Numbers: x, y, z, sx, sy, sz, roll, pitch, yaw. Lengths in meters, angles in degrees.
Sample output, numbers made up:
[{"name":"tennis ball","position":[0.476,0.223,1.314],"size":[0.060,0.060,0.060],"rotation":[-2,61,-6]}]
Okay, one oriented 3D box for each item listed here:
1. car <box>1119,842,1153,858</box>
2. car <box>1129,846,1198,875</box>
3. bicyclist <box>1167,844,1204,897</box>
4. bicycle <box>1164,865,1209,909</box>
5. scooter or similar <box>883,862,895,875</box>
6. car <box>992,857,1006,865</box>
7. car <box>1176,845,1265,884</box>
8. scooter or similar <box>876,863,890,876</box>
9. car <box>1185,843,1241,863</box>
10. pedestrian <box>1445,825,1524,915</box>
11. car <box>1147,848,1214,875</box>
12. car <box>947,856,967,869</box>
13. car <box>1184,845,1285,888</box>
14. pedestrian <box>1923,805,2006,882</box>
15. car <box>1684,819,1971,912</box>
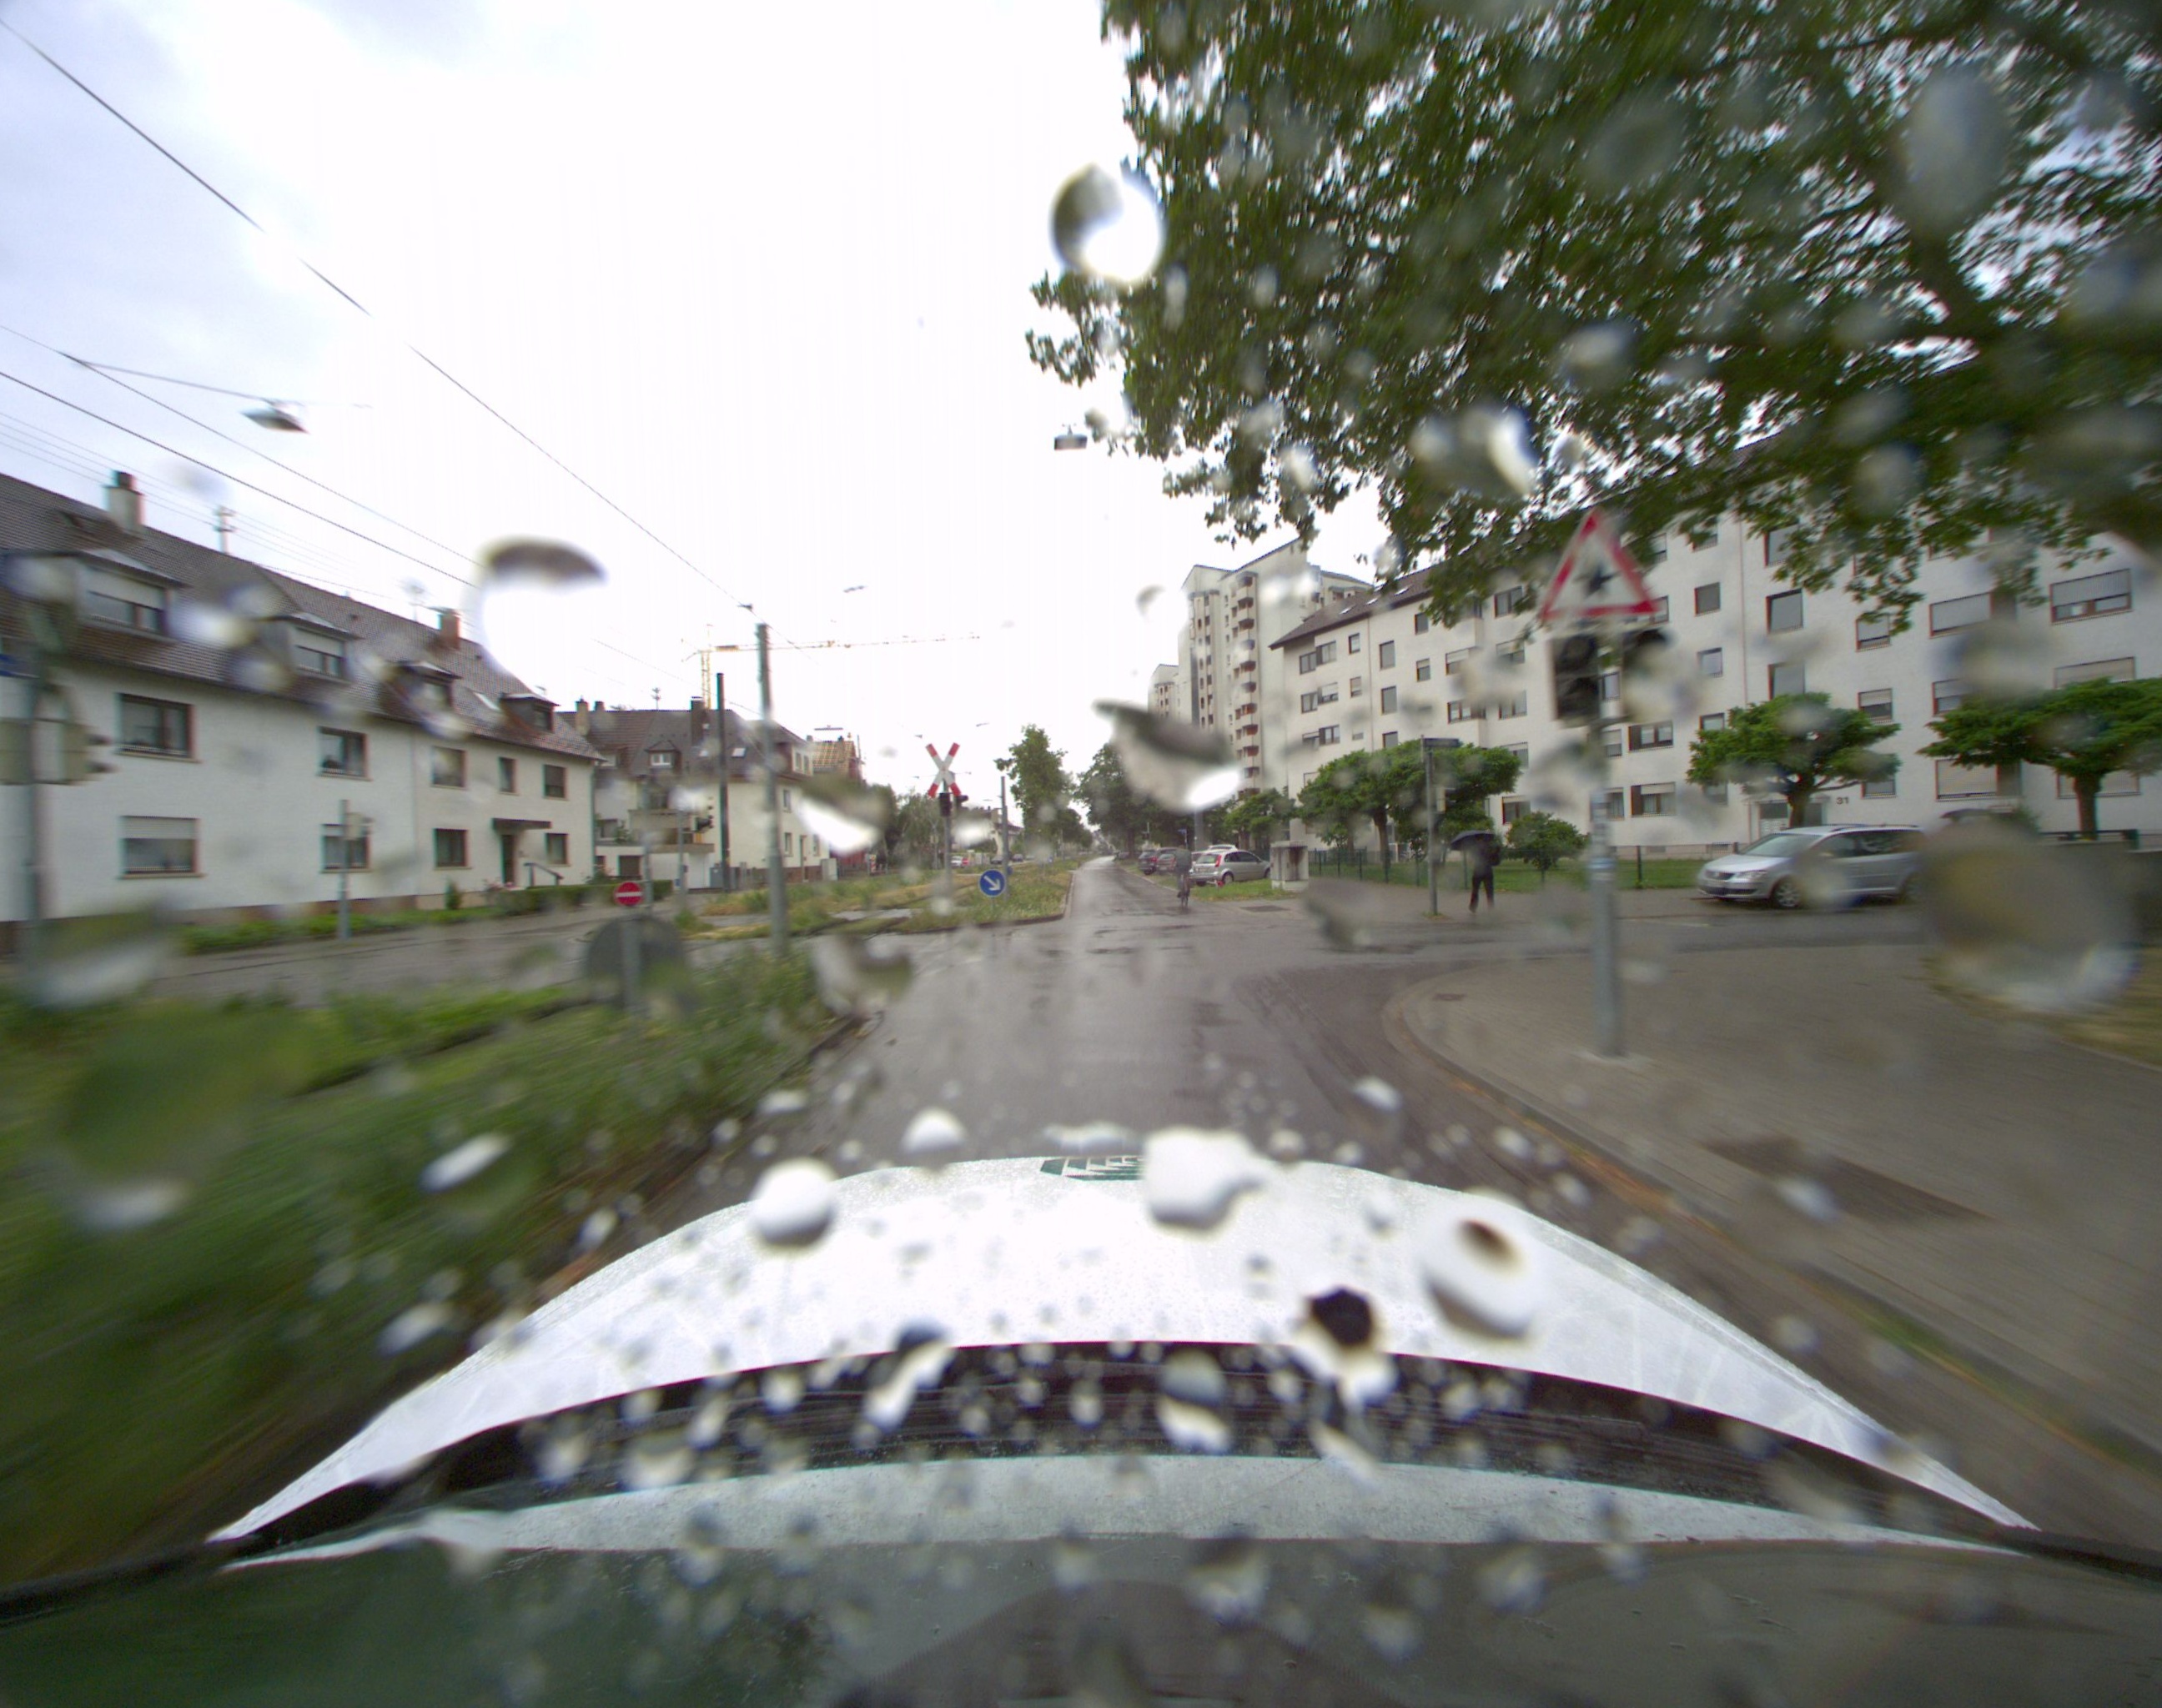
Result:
[{"name":"car","position":[7.446,-0.558,110.341],"size":[4.162,1.719,1.980],"rotation":[-5,1,-31]},{"name":"car","position":[5.329,0.421,52.060],"size":[4.373,1.651,1.836],"rotation":[-3,0,-41]},{"name":"bicyclist","position":[2.928,0.449,22.881],"size":[0.807,1.432,1.059],"rotation":[-3,0,-2]},{"name":"bicycle","position":[2.945,0.890,22.934],"size":[0.807,1.096,2.515],"rotation":[-3,0,-2]},{"name":"scooter or similar","position":[-17.855,1.360,75.780],"size":[0.390,1.180,1.288],"rotation":[-2,0,16]},{"name":"car","position":[-13.177,1.062,131.075],"size":[1.657,1.244,4.074],"rotation":[0,0,2]},{"name":"car","position":[6.373,0.460,37.114],"size":[4.020,1.508,1.685],"rotation":[-3,-2,-39]},{"name":"scooter or similar","position":[-17.684,1.405,72.679],"size":[0.436,1.129,1.291],"rotation":[-2,0,31]},{"name":"car","position":[12.630,-0.126,78.018],"size":[4.810,1.745,1.990],"rotation":[-2,0,-15]},{"name":"pedestrian","position":[8.588,0.322,17.416],"size":[1.092,1.813,1.438],"rotation":[-2,0,10]},{"name":"car","position":[6.026,0.430,49.074],"size":[4.022,1.429,1.714],"rotation":[-3,0,-41]},{"name":"car","position":[-15.428,1.071,101.551],"size":[1.703,1.542,4.425],"rotation":[0,0,3]},{"name":"car","position":[6.398,0.498,33.736],"size":[4.018,1.508,1.764],"rotation":[-3,-2,-36]},{"name":"pedestrian","position":[20.955,-0.246,19.325],"size":[1.175,1.768,0.720],"rotation":[-2,0,-3]},{"name":"car","position":[15.673,0.232,17.283],"size":[4.277,1.680,1.872],"rotation":[-3,0,1]}]
